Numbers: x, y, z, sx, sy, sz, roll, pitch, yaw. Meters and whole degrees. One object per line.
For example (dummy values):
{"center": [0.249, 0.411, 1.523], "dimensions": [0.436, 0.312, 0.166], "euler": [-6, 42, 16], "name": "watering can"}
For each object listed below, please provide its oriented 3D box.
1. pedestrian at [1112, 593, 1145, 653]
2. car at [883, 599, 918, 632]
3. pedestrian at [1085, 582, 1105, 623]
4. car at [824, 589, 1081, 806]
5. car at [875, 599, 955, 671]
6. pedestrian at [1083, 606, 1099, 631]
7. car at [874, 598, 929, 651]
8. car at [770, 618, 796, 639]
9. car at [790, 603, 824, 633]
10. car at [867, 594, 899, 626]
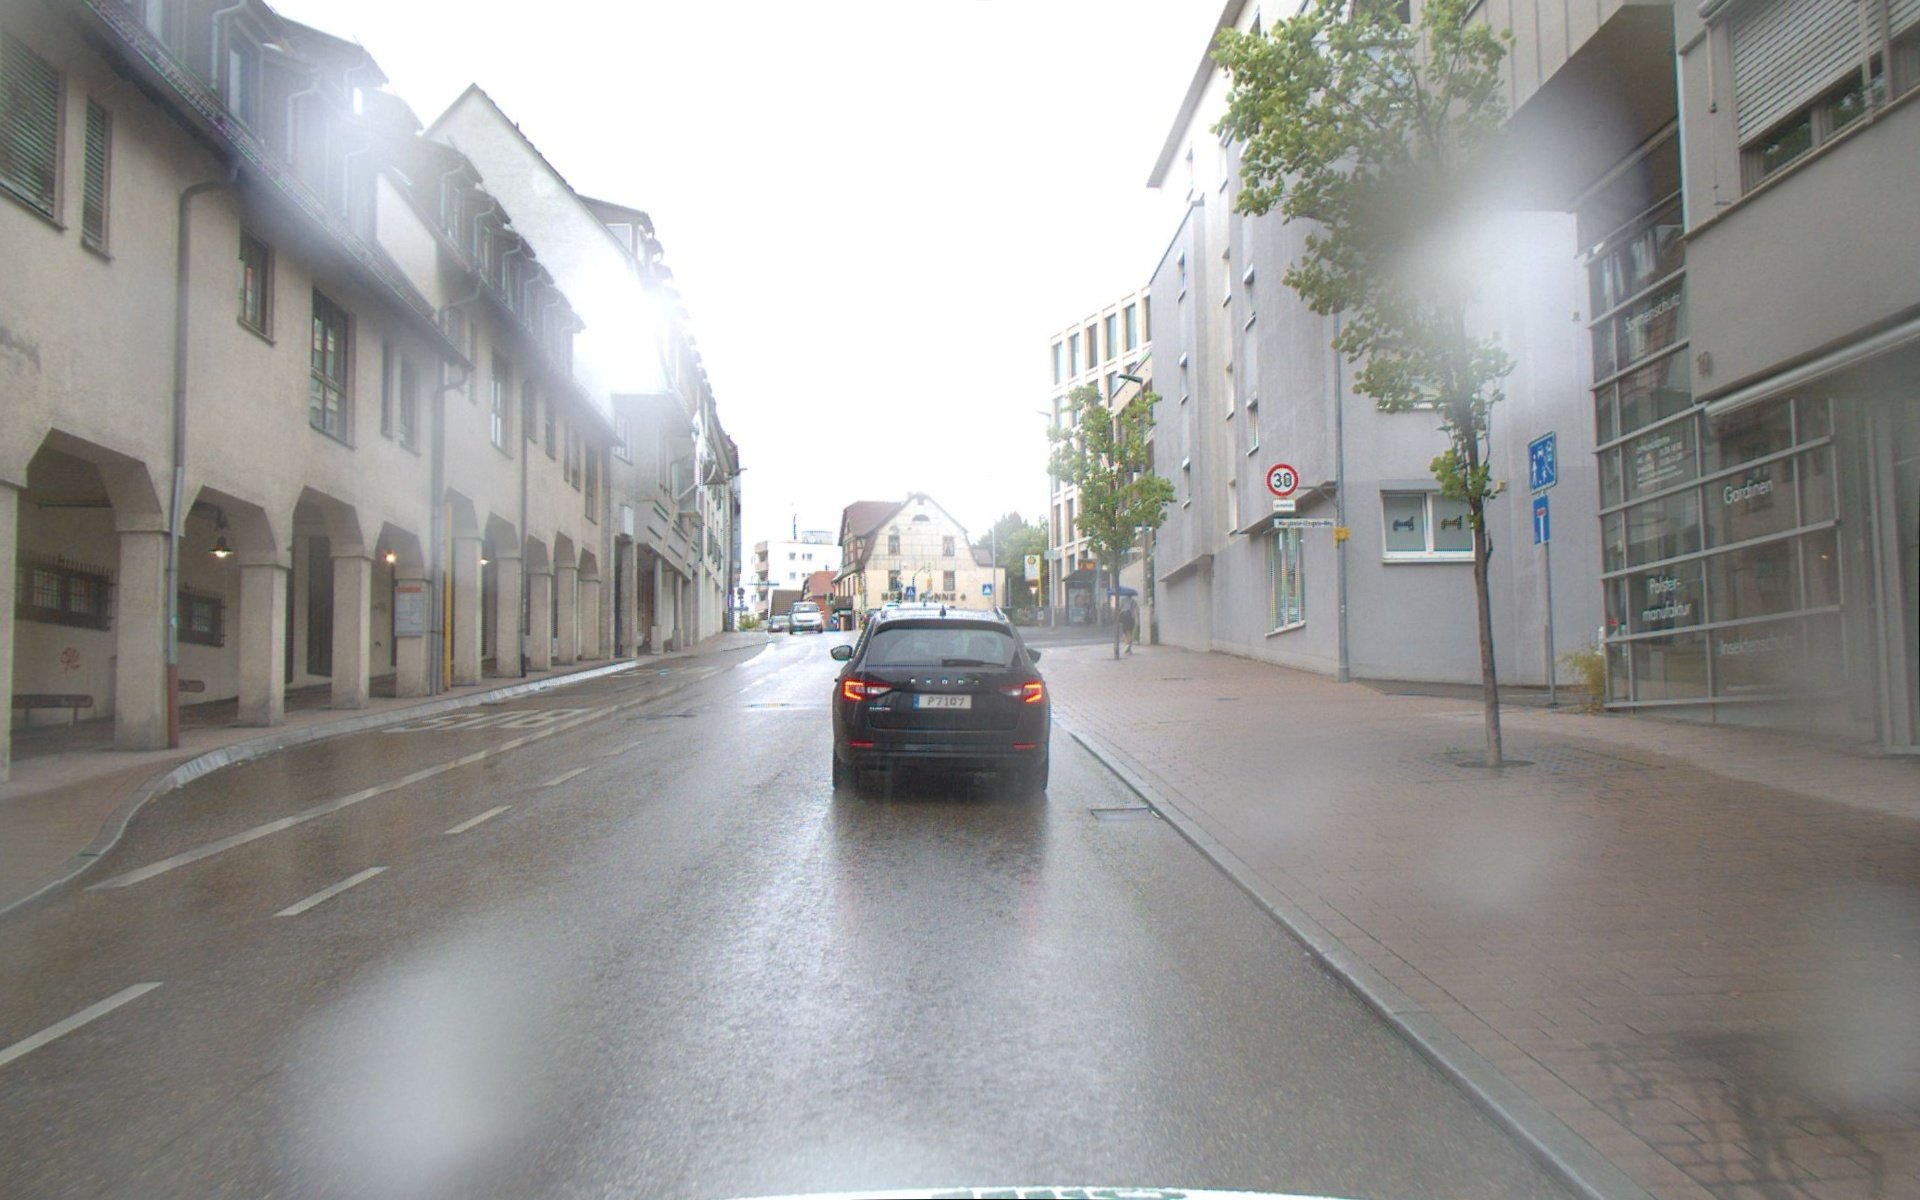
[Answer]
{"center": [4.613, 0.618, 45.307], "dimensions": [0.721, 1.569, 1.038], "euler": [-4, -1, 1], "name": "pedestrian"}
{"center": [-2.999, 0.784, 83.162], "dimensions": [1.647, 1.587, 3.998], "euler": [-1, 0, -3], "name": "car"}
{"center": [6.571, 0.136, 80.587], "dimensions": [0.766, 1.974, 1.020], "euler": [-2, -1, -2], "name": "pedestrian"}
{"center": [-0.061, 0.742, 14.546], "dimensions": [1.905, 1.594, 4.416], "euler": [-1, 0, 0], "name": "car"}
{"center": [-1.080, 0.782, 38.058], "dimensions": [1.644, 1.536, 3.585], "euler": [-1, 0, -5], "name": "car"}
{"center": [6.507, 0.916, 81.994], "dimensions": [0.658, 1.182, 0.635], "euler": [-2, -1, -2], "name": "pedestrian"}
{"center": [-1.878, 0.753, 52.797], "dimensions": [1.647, 1.587, 3.998], "euler": [-1, 0, -3], "name": "car"}
{"center": [-12.710, 2.049, 118.609], "dimensions": [1.646, 1.434, 3.580], "euler": [-1, 0, -10], "name": "car"}
{"center": [-8.001, 0.925, 86.882], "dimensions": [1.644, 1.536, 3.586], "euler": [-1, 0, -3], "name": "car"}
{"center": [-5.108, 0.651, 109.983], "dimensions": [1.953, 2.049, 3.999], "euler": [-1, 0, -1], "name": "car"}
